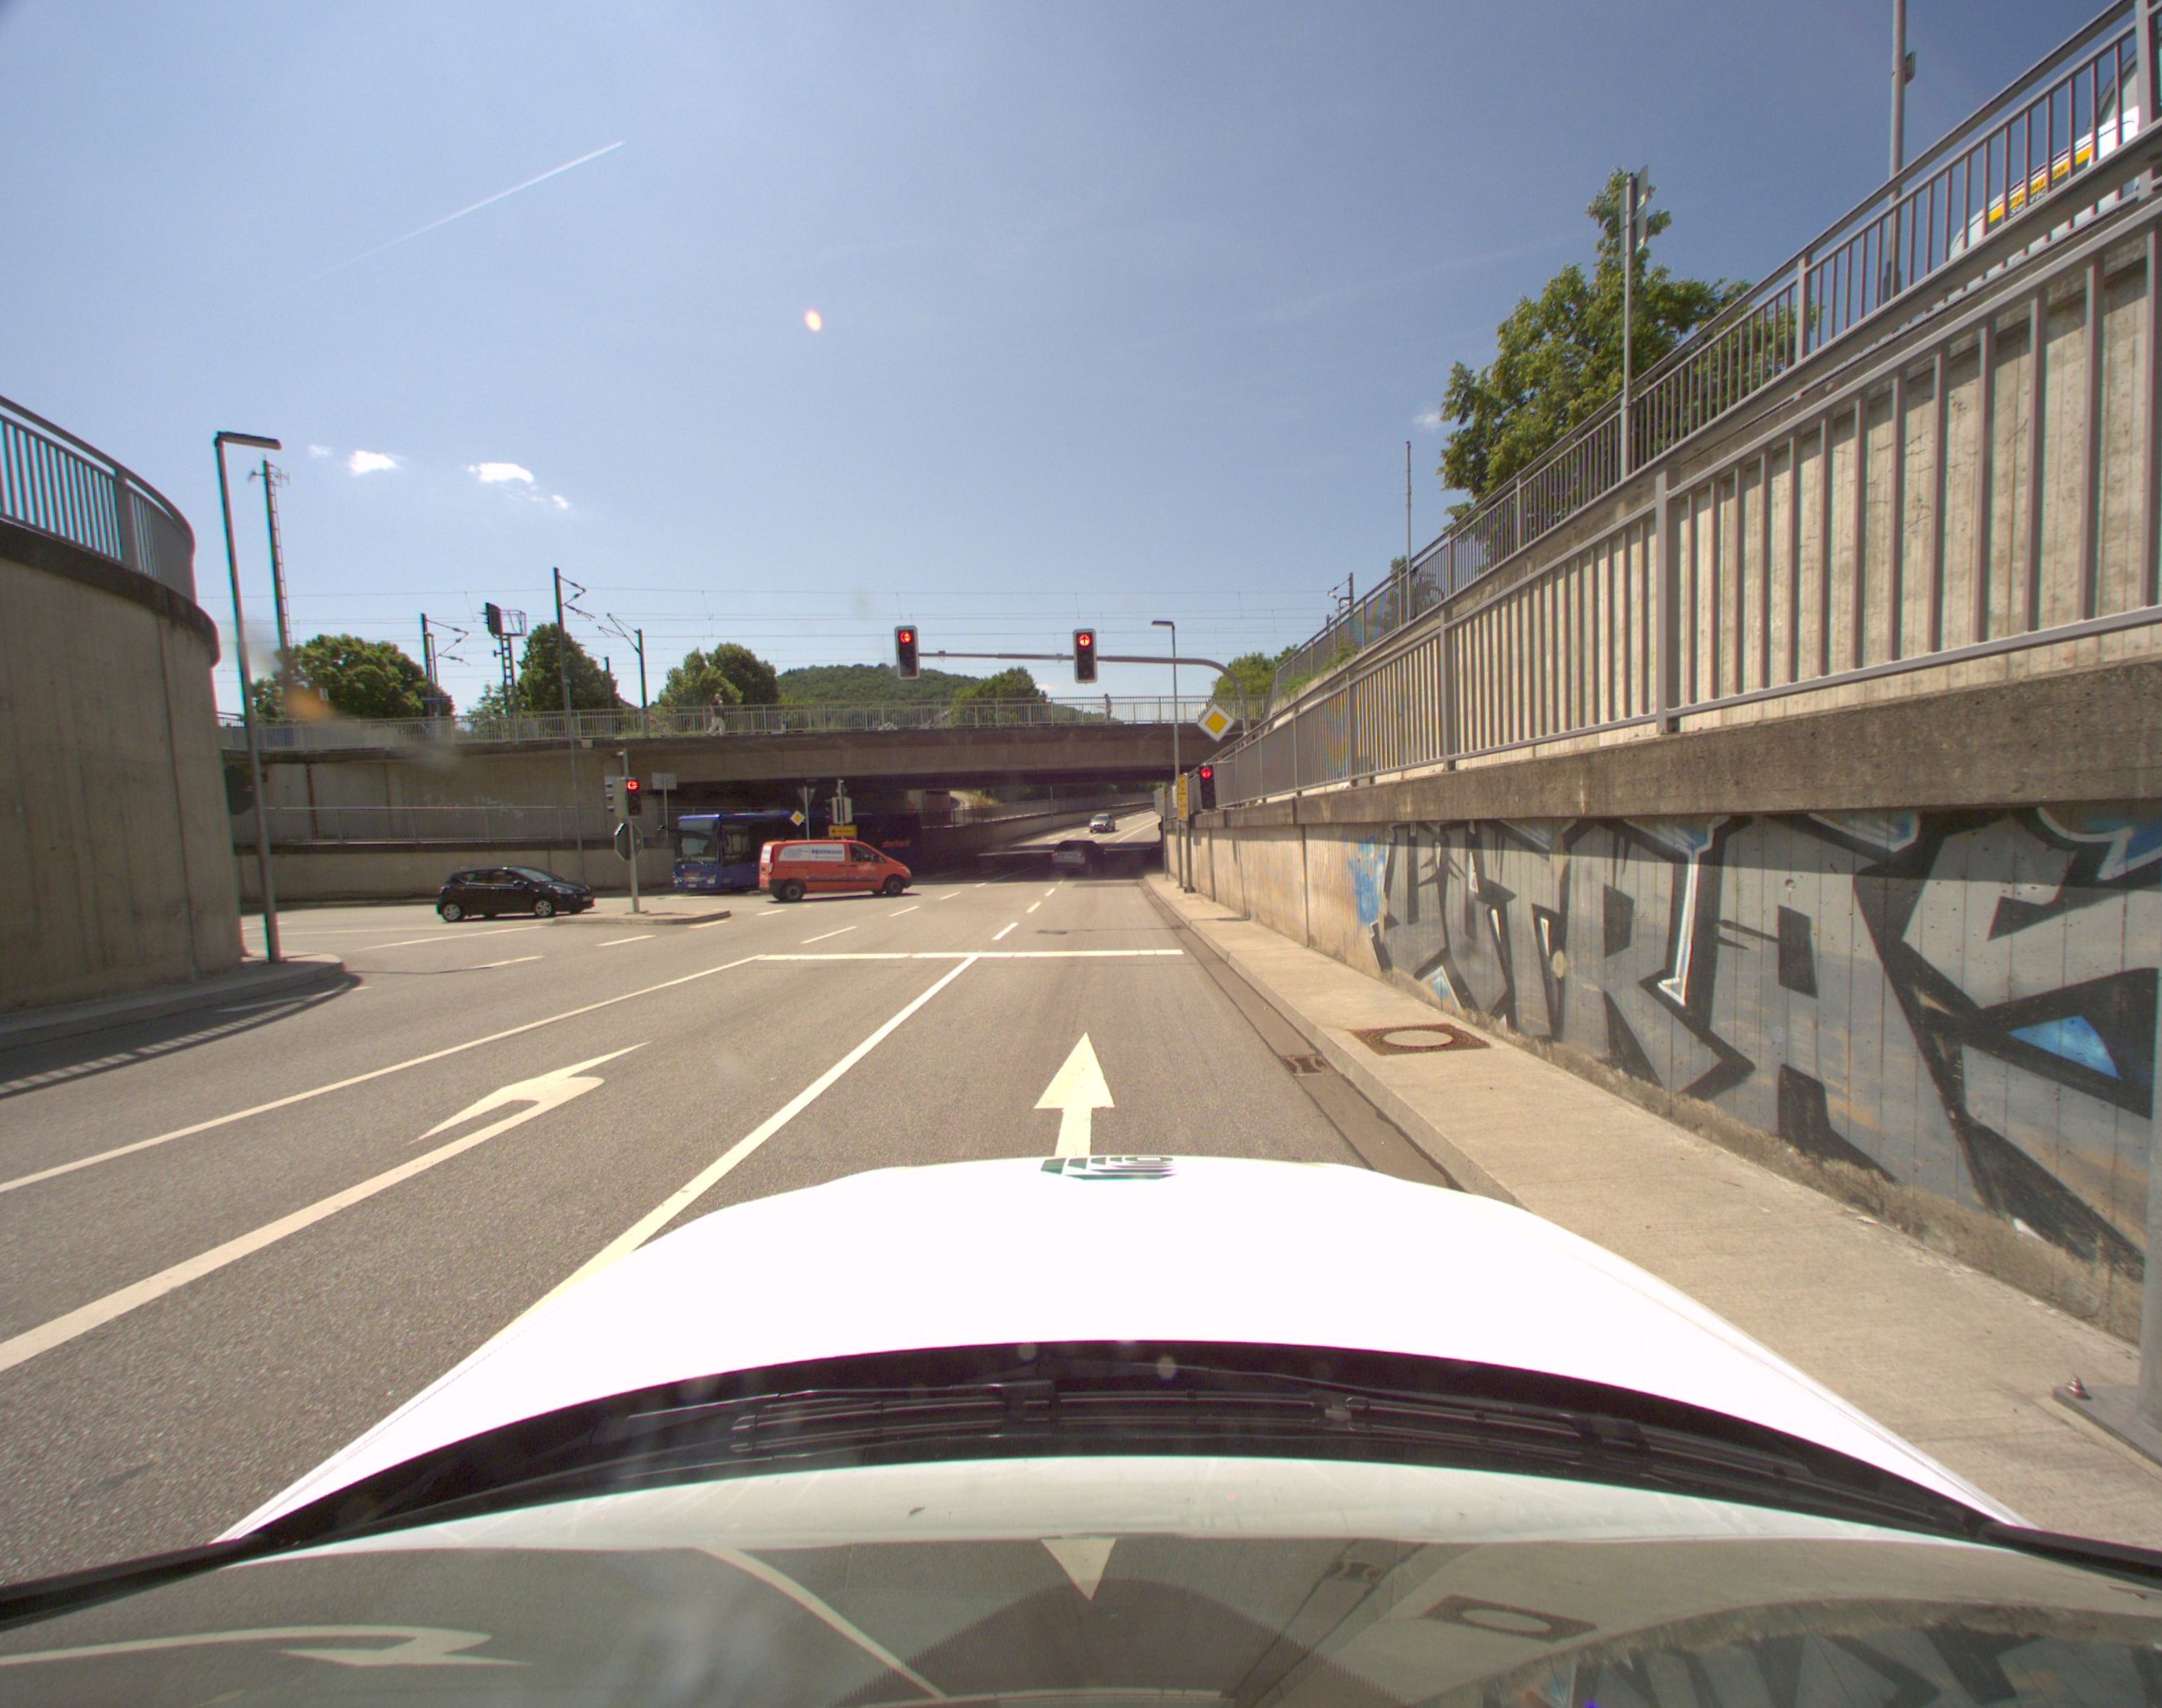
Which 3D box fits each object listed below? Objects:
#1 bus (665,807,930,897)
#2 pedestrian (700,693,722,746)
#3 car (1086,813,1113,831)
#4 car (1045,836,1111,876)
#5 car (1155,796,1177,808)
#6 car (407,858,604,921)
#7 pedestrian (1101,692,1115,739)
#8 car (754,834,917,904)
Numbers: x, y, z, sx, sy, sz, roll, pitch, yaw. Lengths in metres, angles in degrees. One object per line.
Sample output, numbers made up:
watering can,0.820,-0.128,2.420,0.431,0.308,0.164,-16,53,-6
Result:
bus,-11.463,-0.390,35.284,2.557,3.172,12.453,0,3,26
pedestrian,-15.148,-5.487,33.361,0.576,2.081,0.533,-3,0,-9
car,1.795,-3.071,77.283,1.981,1.627,4.013,-1,3,10
car,-0.080,0.064,37.323,1.790,1.617,4.020,-1,3,18
car,11.470,-6.959,109.406,1.766,1.436,4.024,-1,2,24
car,-15.967,0.953,22.778,3.974,1.507,2.000,-2,2,0
pedestrian,1.253,-6.431,37.743,0.538,2.081,0.534,-3,0,-5
car,-7.968,0.412,26.562,4.735,1.932,1.861,-3,3,-31
